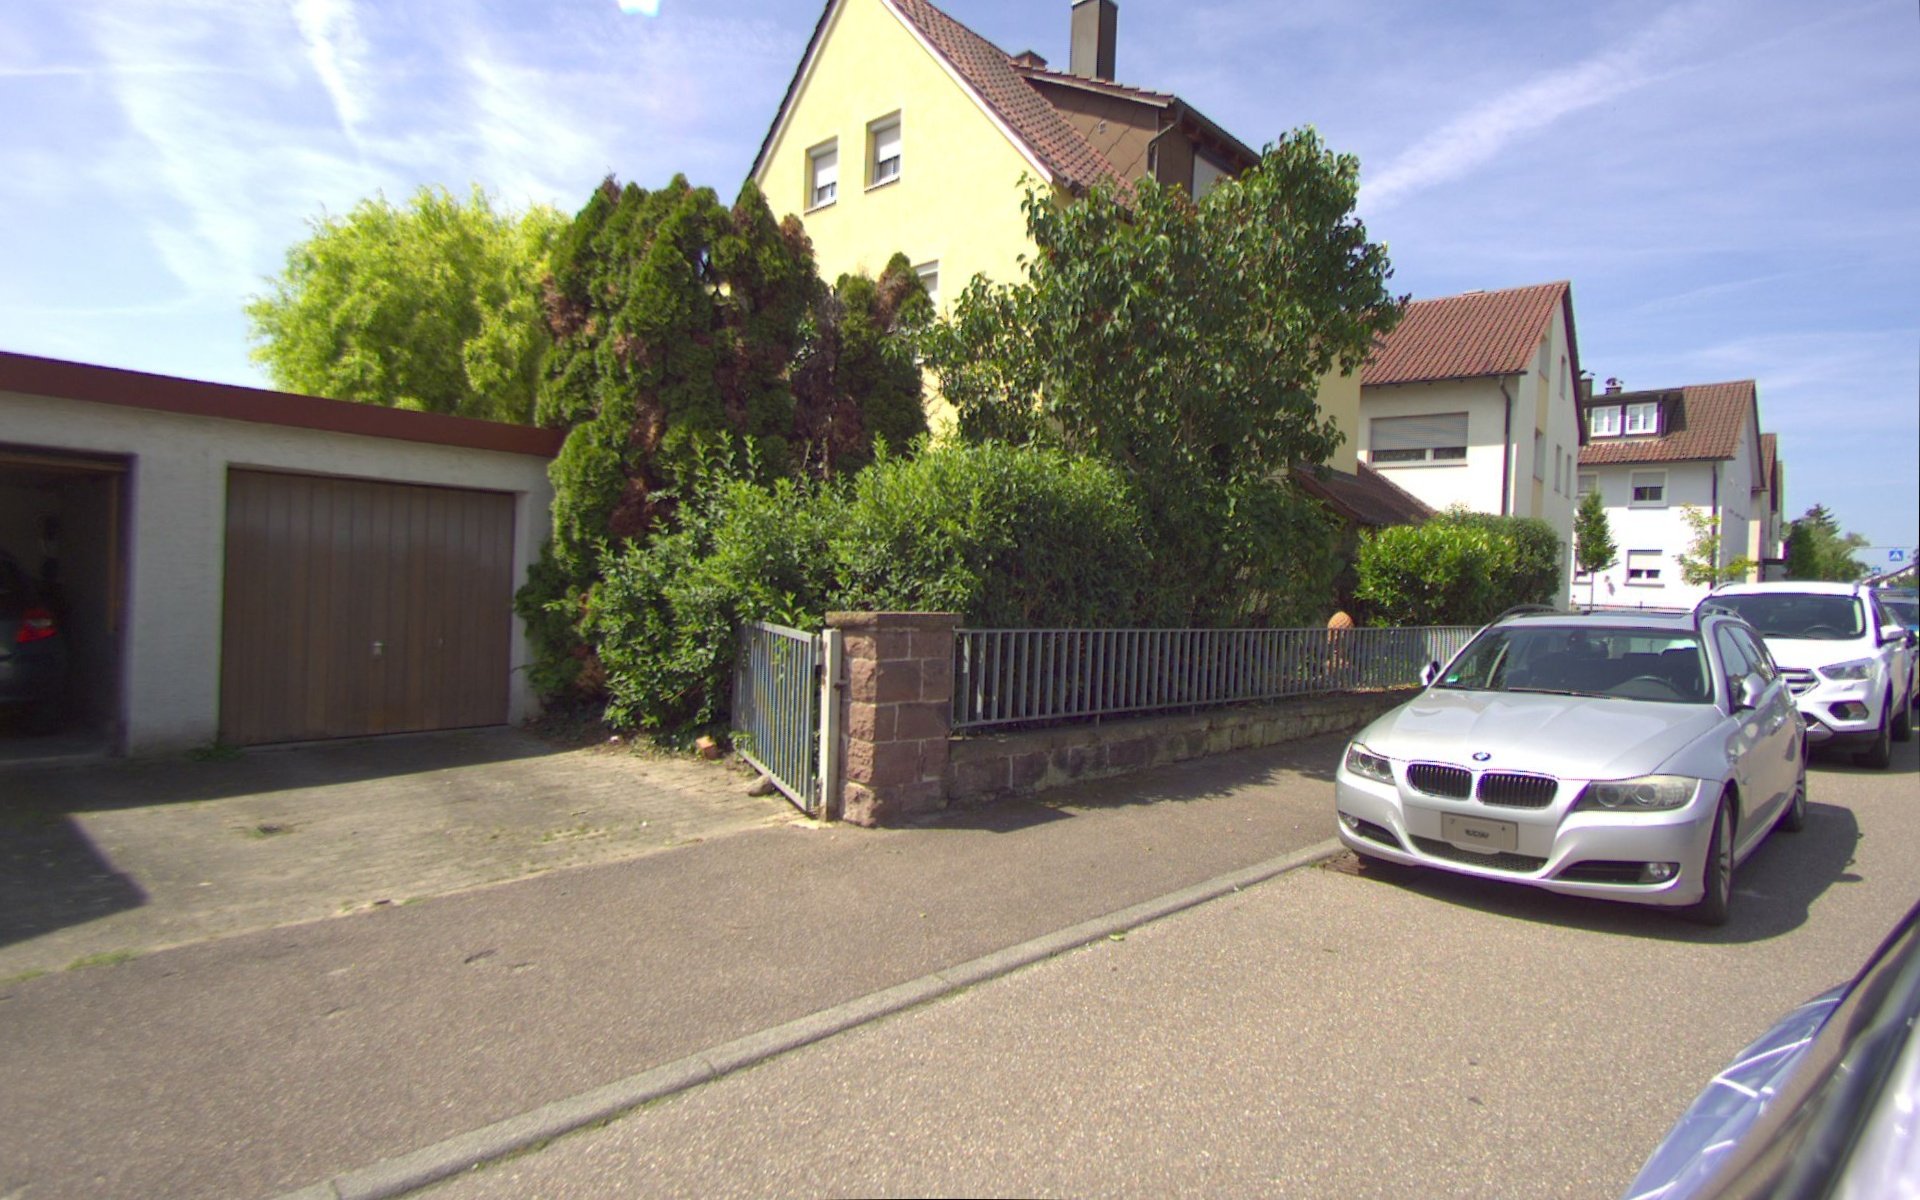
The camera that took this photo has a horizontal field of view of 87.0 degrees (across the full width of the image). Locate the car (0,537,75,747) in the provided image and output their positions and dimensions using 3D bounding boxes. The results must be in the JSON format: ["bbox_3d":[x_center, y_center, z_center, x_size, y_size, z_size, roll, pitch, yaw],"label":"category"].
[{"bbox_3d":[-8.522,0.203,8.237,1.759,1.484,3.958,1,2,-44],"label":"car"}]

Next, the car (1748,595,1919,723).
[{"bbox_3d":[12.201,0.682,13.847,4.299,1.487,1.625,0,0,-43],"label":"car"}]

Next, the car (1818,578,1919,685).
[{"bbox_3d":[17.089,0.524,18.537,3.988,1.771,1.667,0,0,-43],"label":"car"}]

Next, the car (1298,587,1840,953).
[{"bbox_3d":[3.920,0.665,6.131,4.347,1.439,1.753,0,0,-44],"label":"car"}]

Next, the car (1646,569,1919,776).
[{"bbox_3d":[8.580,0.583,10.339,4.264,1.683,1.738,0,0,-43],"label":"car"}]
